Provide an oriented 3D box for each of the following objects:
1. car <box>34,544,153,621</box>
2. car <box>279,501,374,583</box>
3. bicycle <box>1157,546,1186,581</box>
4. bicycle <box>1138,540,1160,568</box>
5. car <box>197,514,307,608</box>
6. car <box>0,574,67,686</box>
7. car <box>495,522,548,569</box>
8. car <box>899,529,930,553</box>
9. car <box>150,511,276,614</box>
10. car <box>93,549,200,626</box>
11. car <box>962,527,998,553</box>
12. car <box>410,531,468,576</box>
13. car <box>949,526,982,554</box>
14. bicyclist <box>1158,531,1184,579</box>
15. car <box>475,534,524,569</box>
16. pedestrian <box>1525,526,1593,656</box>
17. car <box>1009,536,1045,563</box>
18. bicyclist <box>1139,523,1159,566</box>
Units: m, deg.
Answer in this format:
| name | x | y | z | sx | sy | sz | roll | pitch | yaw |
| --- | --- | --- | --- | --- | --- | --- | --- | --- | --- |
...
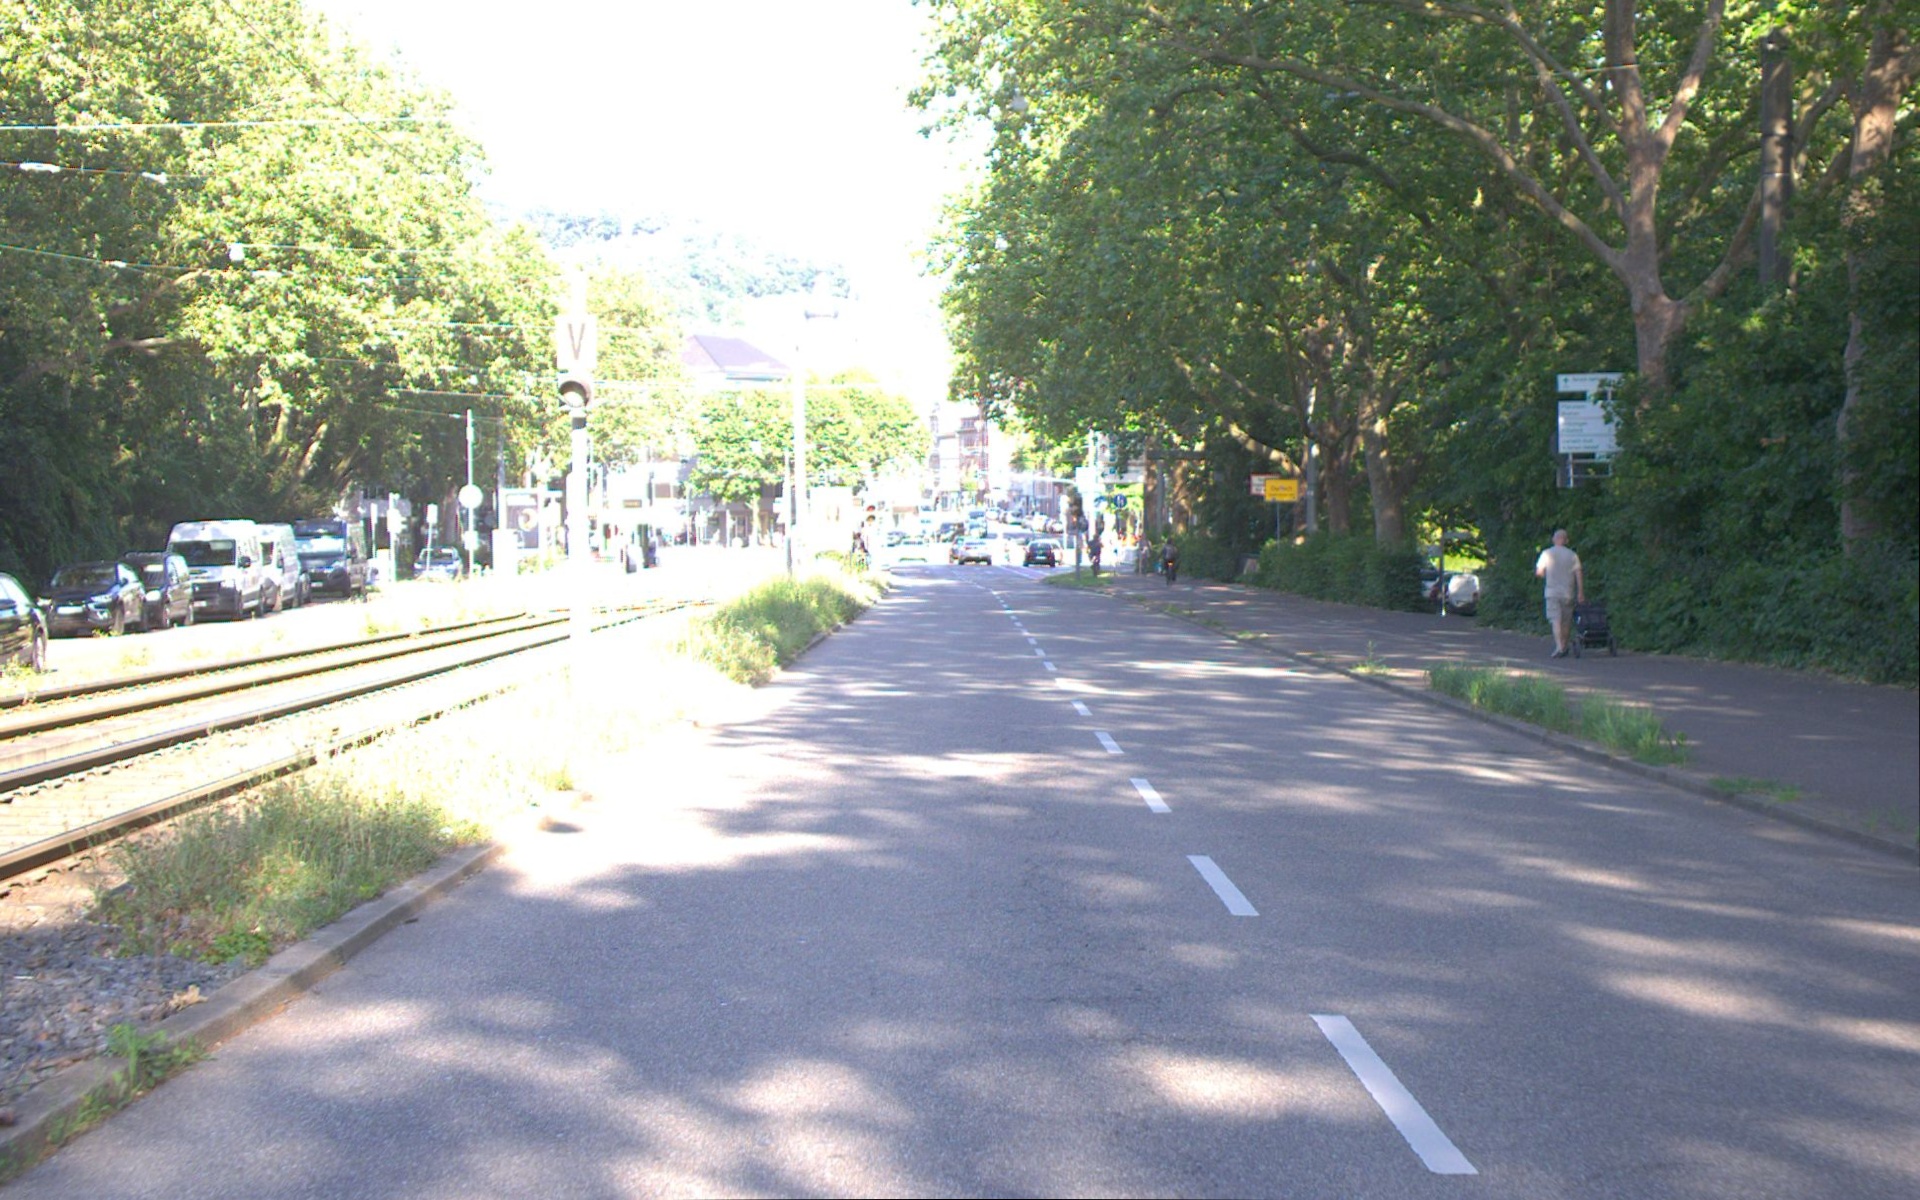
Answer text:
| name | x | y | z | sx | sy | sz | roll | pitch | yaw |
| --- | --- | --- | --- | --- | --- | --- | --- | --- | --- |
| car | -18.736 | -0.397 | 74.445 | 1.738 | 1.550 | 3.883 | -2 | 1 | -3 |
| car | -20.583 | -1.877 | 111.961 | 2.183 | 2.512 | 6.033 | -2 | 1 | -3 |
| bicycle | 6.715 | -1.163 | 109.193 | 0.766 | 1.104 | 1.800 | 0 | 1 | -2 |
| bicycle | 7.531 | -1.851 | 136.976 | 0.699 | 1.104 | 1.930 | 0 | 1 | -3 |
| car | -19.961 | -1.106 | 97.212 | 2.183 | 2.512 | 6.273 | -2 | 1 | -4 |
| car | -13.372 | 0.421 | 45.662 | 1.920 | 1.410 | 4.750 | -3 | 1 | -2 |
| car | -20.998 | -2.593 | 164.690 | 2.067 | 2.117 | 5.091 | -2 | 1 | -3 |
| car | -2.771 | -3.572 | 207.746 | 1.808 | 1.447 | 4.001 | 0 | 1 | -2 |
| car | -19.330 | -0.988 | 89.227 | 2.183 | 2.512 | 6.051 | -2 | 1 | -3 |
| car | -19.107 | -0.311 | 80.884 | 1.738 | 1.722 | 3.883 | -2 | 1 | -3 |
| car | 1.145 | -3.475 | 198.816 | 1.929 | 1.467 | 4.855 | 0 | 1 | -1 |
| car | -20.422 | -1.817 | 134.772 | 1.902 | 1.646 | 3.973 | -2 | 1 | -4 |
| car | 0.330 | -3.595 | 205.939 | 1.800 | 1.632 | 4.046 | 0 | 1 | -2 |
| bicyclist | 6.711 | -1.422 | 109.193 | 0.766 | 1.507 | 0.650 | 0 | 1 | -2 |
| car | -20.843 | -2.199 | 155.746 | 1.794 | 1.505 | 4.342 | -2 | 1 | -3 |
| pedestrian | 7.680 | -0.121 | 44.102 | 0.648 | 1.630 | 0.928 | -3 | 1 | 0 |
| car | 3.764 | -2.876 | 193.758 | 1.800 | 1.434 | 4.046 | 1 | 1 | -2 |
| bicyclist | 7.531 | -2.217 | 136.972 | 0.699 | 1.722 | 1.080 | 0 | 1 | -3 |
